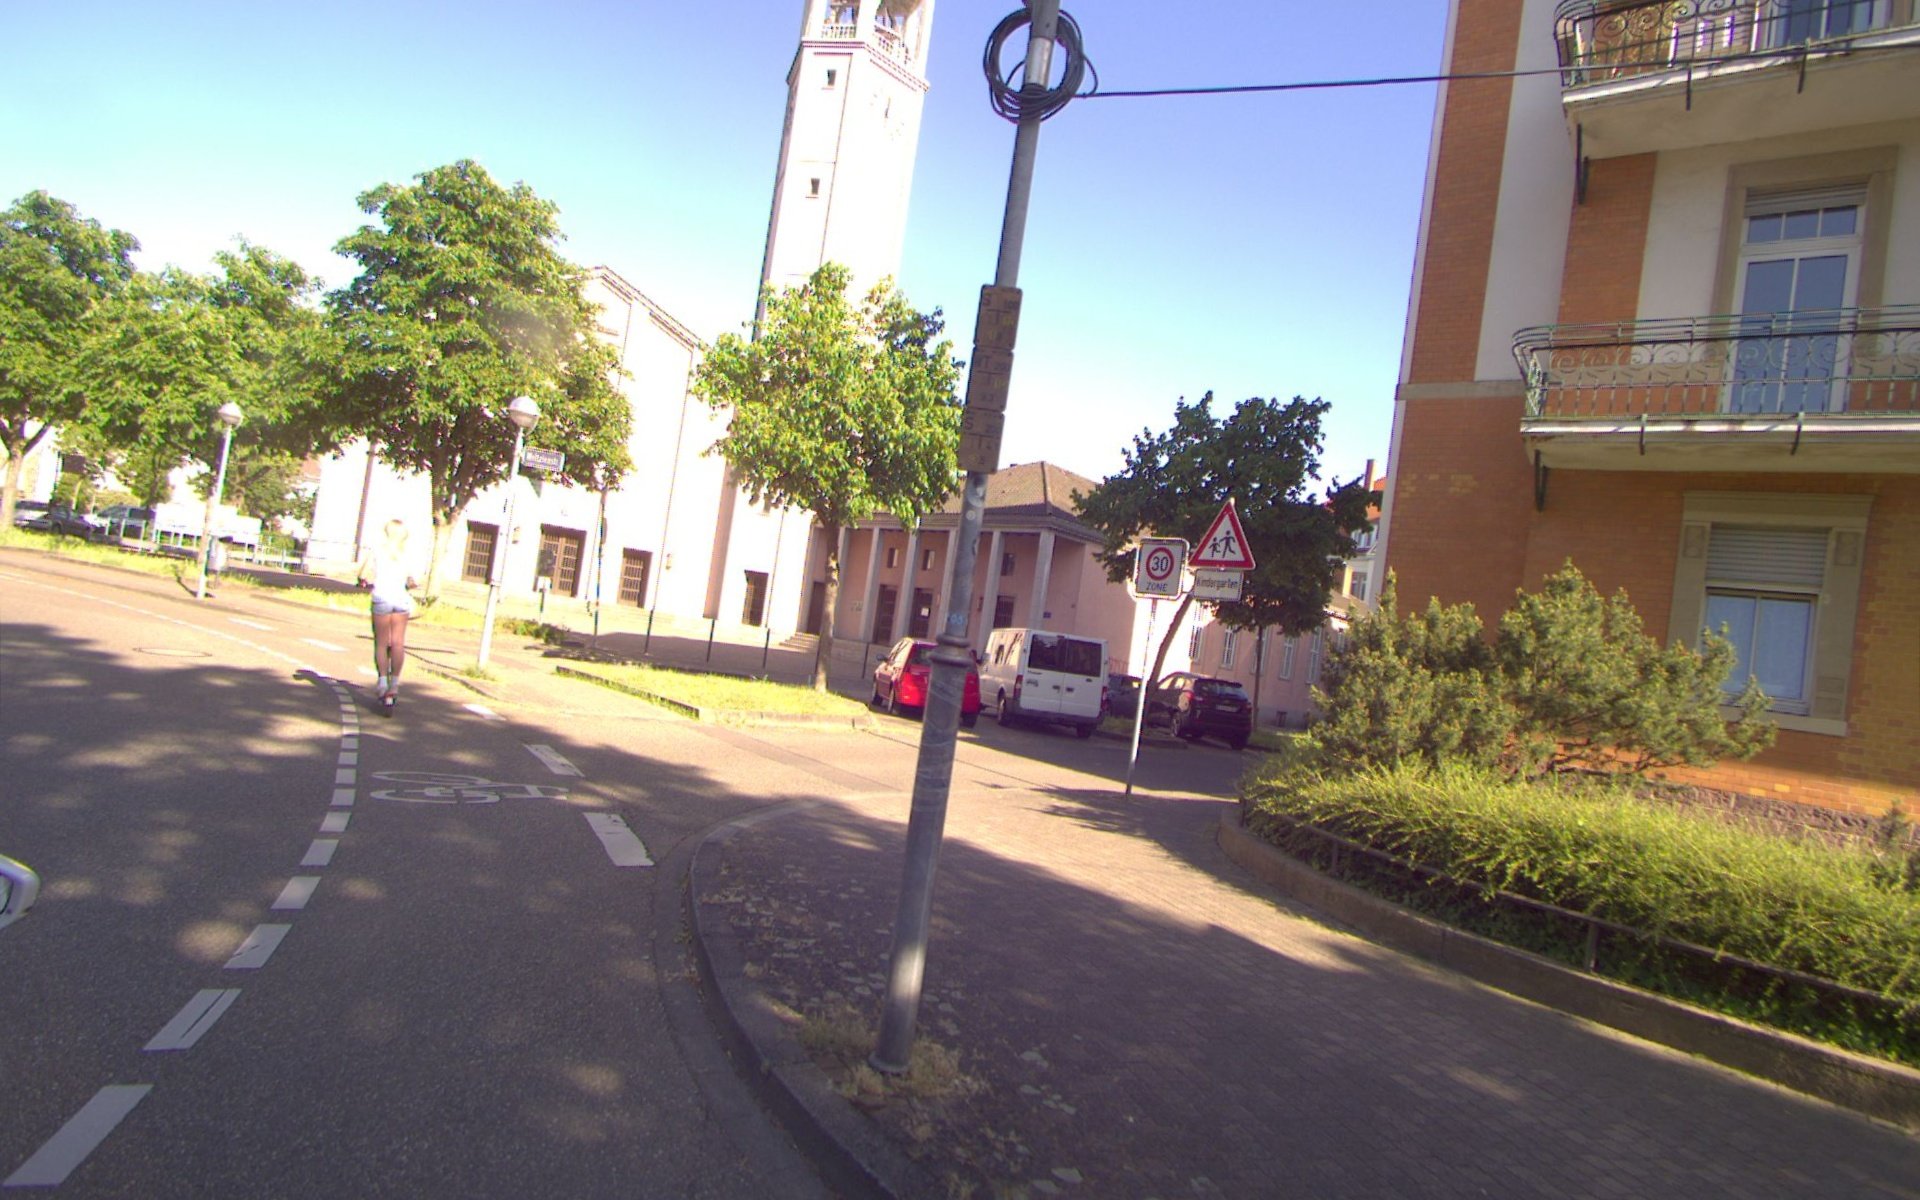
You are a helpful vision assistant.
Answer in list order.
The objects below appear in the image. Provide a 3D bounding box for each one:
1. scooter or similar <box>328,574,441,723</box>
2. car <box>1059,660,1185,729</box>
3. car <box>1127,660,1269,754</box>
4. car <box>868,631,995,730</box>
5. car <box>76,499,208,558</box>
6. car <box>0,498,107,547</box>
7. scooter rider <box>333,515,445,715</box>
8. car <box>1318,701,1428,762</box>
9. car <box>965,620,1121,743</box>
[{"bbox_3d":[-5.665,0.457,9.883,0.628,1.297,1.094,9,-2,-40],"label":"scooter or similar"},{"bbox_3d":[4.747,2.770,29.198,3.594,1.439,1.593,11,1,-44],"label":"car"},{"bbox_3d":[5.835,2.602,25.217,1.733,1.758,3.948,9,-2,-12],"label":"car"},{"bbox_3d":[-0.658,1.488,19.513,1.643,1.451,3.689,9,-2,-12],"label":"car"},{"bbox_3d":[-41.827,-3.615,51.601,4.724,2.023,1.799,10,-3,-25],"label":"car"},{"bbox_3d":[-39.700,-3.357,44.096,1.784,1.490,4.325,10,-3,-17],"label":"car"},{"bbox_3d":[-5.616,0.139,9.892,0.621,1.852,0.624,9,-1,-40],"label":"scooter rider"},{"bbox_3d":[14.673,4.654,35.975,1.732,1.513,3.953,9,-2,-8],"label":"car"},{"bbox_3d":[1.604,1.600,21.431,1.961,2.068,4.700,9,-2,-9],"label":"car"}]
